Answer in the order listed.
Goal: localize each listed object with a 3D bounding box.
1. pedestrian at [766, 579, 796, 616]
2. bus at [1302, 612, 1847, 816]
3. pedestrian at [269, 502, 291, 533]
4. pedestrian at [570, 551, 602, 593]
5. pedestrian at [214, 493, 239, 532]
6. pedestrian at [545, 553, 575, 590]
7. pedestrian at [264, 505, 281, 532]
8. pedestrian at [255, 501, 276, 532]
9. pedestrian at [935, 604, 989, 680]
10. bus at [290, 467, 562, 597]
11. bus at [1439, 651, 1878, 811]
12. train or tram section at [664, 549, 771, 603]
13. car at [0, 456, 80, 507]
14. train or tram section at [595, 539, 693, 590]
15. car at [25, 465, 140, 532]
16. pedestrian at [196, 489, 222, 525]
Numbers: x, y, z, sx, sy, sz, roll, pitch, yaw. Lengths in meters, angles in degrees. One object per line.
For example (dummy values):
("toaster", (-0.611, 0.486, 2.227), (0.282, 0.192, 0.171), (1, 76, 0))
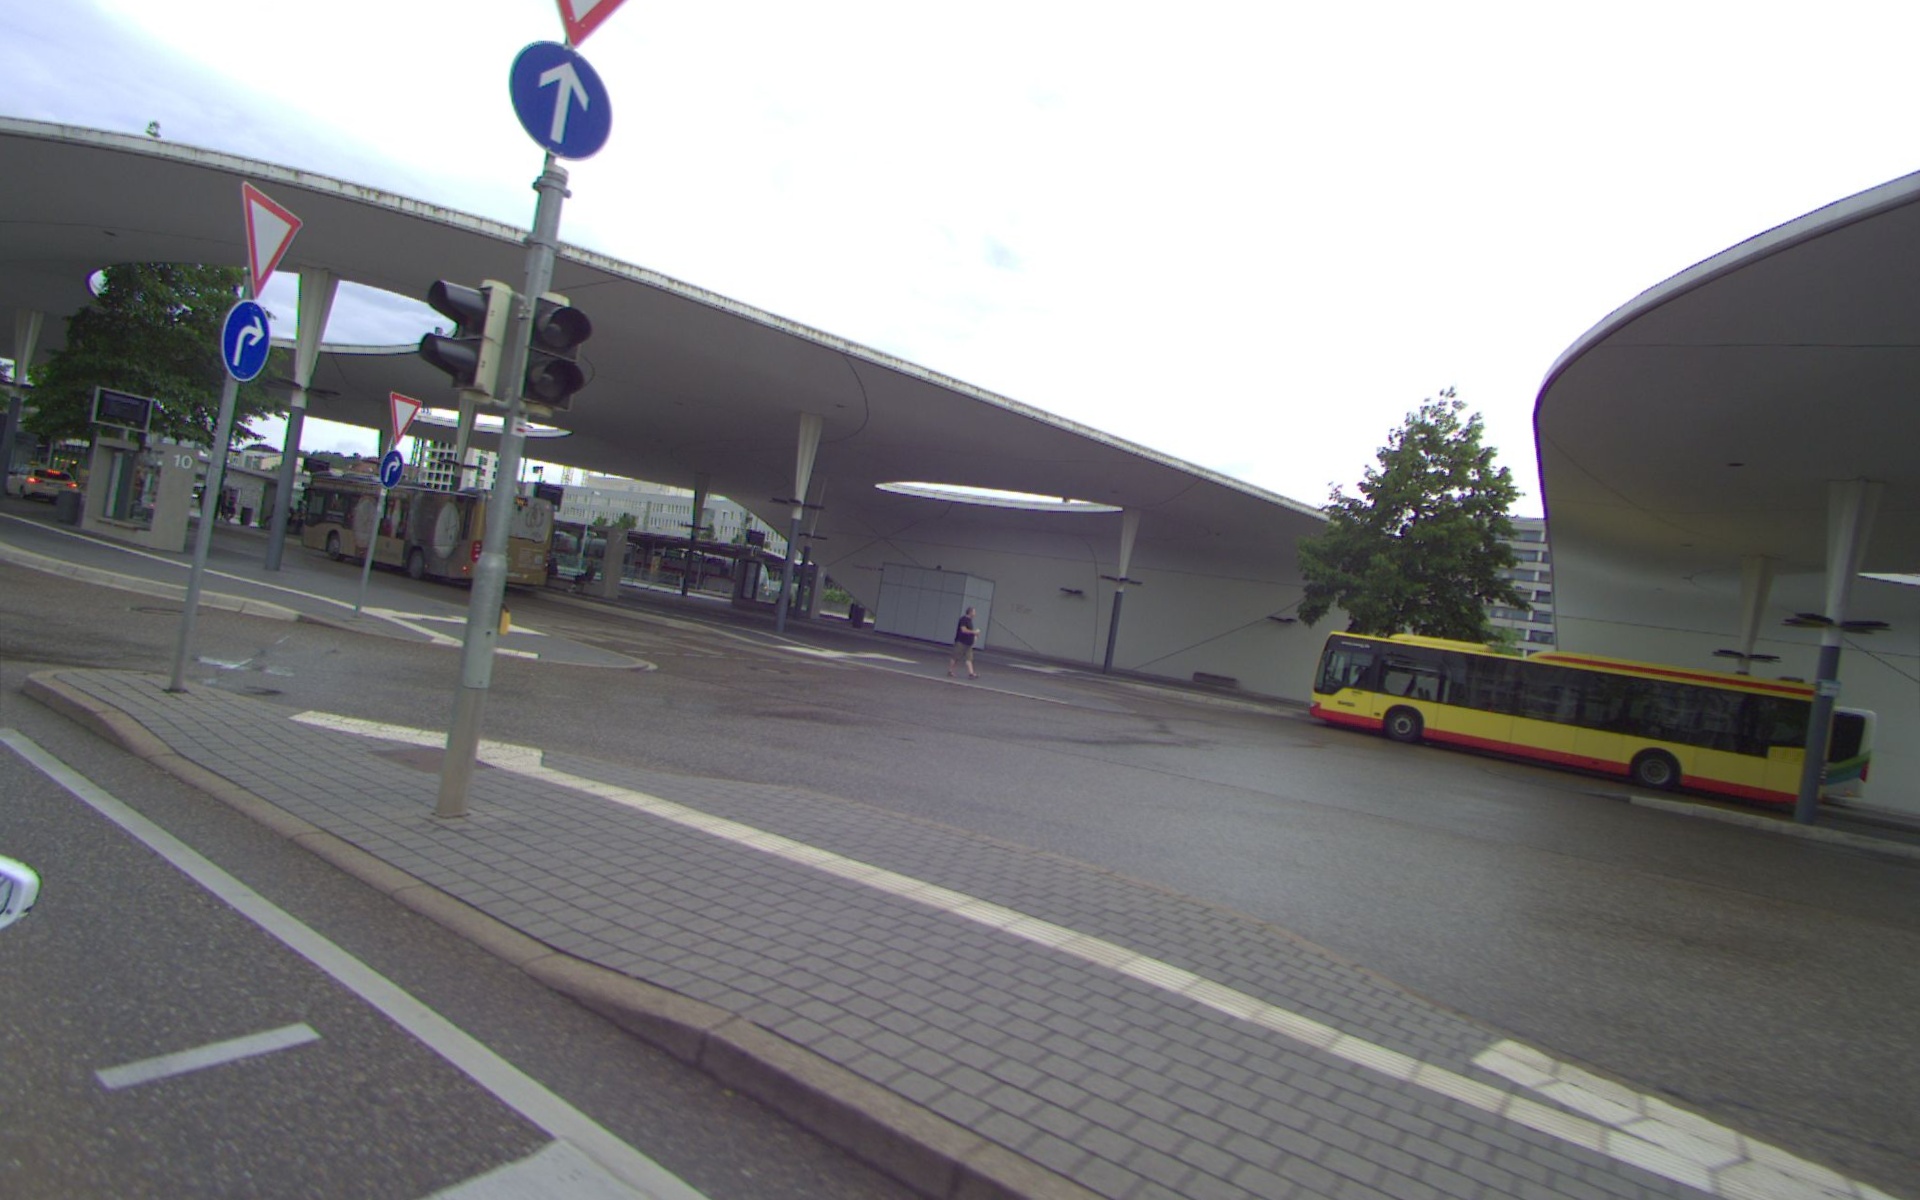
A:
("pedestrian", (-8.519, -0.116, 47.805), (0.892, 1.603, 0.797), (8, -2, 28))
("bus", (16.055, 2.813, 27.701), (11.942, 3.296, 2.792), (8, -1, 33))
("pedestrian", (-34.118, -4.147, 50.460), (0.603, 1.461, 0.561), (8, 0, 31))
("pedestrian", (-13.510, -1.019, 36.352), (0.789, 1.394, 0.627), (8, 1, -38))
("pedestrian", (-34.794, -4.162, 47.730), (0.603, 1.712, 0.561), (9, 0, 28))
("pedestrian", (-14.935, -1.058, 37.567), (0.789, 1.241, 0.627), (8, 1, -38))
("pedestrian", (-34.744, -4.110, 50.862), (0.455, 1.265, 0.559), (9, 0, -26))
("pedestrian", (-35.363, -4.258, 51.210), (0.603, 1.461, 0.561), (8, 0, 31))
("pedestrian", (0.054, 1.003, 24.535), (1.002, 1.705, 0.719), (8, 2, 9))
("bus", (-18.281, -2.436, 33.863), (11.896, 3.081, 2.723), (8, 1, 35))
("bus", (23.317, 4.212, 34.695), (11.780, 3.297, 2.467), (7, 0, 35))
("train or tram section", (-24.436, -2.438, 100.924), (11.429, 3.716, 3.140), (8, -4, 34))
("car", (-40.569, -5.230, 44.179), (4.171, 1.681, 1.714), (8, -1, 34))
("train or tram section", (-33.819, -3.829, 107.385), (11.428, 3.719, 3.140), (9, -3, 34))
("car", (-26.028, -3.016, 29.824), (3.184, 1.470, 1.649), (9, 0, 33))
("pedestrian", (-36.322, -4.486, 48.683), (0.699, 1.600, 0.600), (6, -1, 26))
